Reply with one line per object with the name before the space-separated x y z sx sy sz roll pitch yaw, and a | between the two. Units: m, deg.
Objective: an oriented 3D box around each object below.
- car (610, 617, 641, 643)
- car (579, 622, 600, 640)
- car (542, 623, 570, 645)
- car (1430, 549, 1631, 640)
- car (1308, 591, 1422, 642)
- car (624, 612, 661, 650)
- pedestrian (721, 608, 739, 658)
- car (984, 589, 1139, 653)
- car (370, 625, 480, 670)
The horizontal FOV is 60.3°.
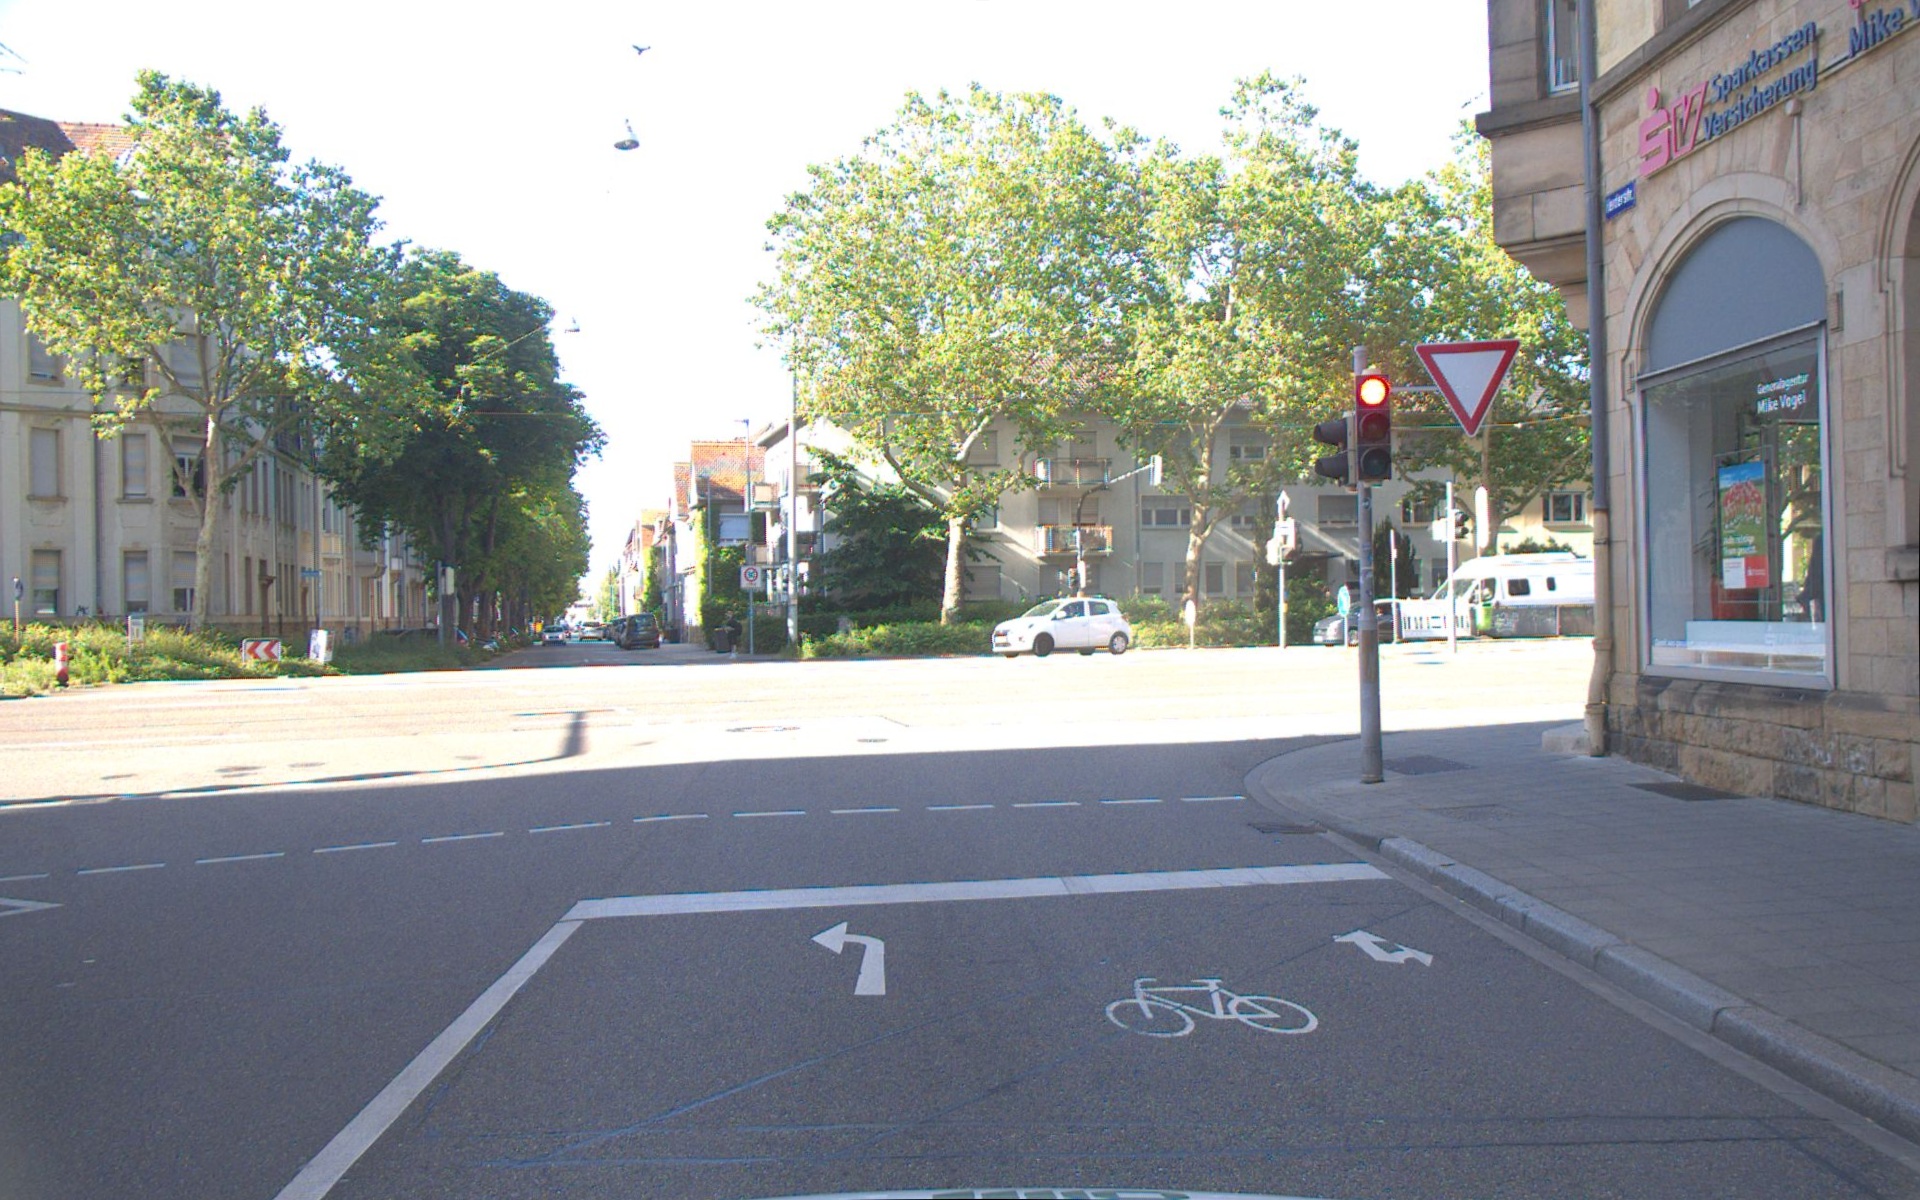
car | -25.277 2.243 124.763 1.961 1.865 3.982 0 -1 -16
car | -30.534 2.556 136.279 1.645 1.509 3.510 0 -1 -13
car | -30.082 2.516 123.046 1.960 1.471 3.984 -2 0 -15
car | 17.822 -0.193 51.700 5.949 2.613 1.989 -2 0 -19
car | 13.059 0.532 53.326 3.333 1.513 1.514 -2 0 -23
car | -18.064 1.760 94.268 1.957 2.049 3.990 -2 0 -10
pedestrian | -8.335 1.196 59.938 0.621 1.780 0.658 0 -1 -5
car | 2.634 0.538 42.854 3.747 1.498 1.613 -2 0 -30
car | -20.494 1.798 63.353 3.928 1.512 1.672 -2 0 -20
